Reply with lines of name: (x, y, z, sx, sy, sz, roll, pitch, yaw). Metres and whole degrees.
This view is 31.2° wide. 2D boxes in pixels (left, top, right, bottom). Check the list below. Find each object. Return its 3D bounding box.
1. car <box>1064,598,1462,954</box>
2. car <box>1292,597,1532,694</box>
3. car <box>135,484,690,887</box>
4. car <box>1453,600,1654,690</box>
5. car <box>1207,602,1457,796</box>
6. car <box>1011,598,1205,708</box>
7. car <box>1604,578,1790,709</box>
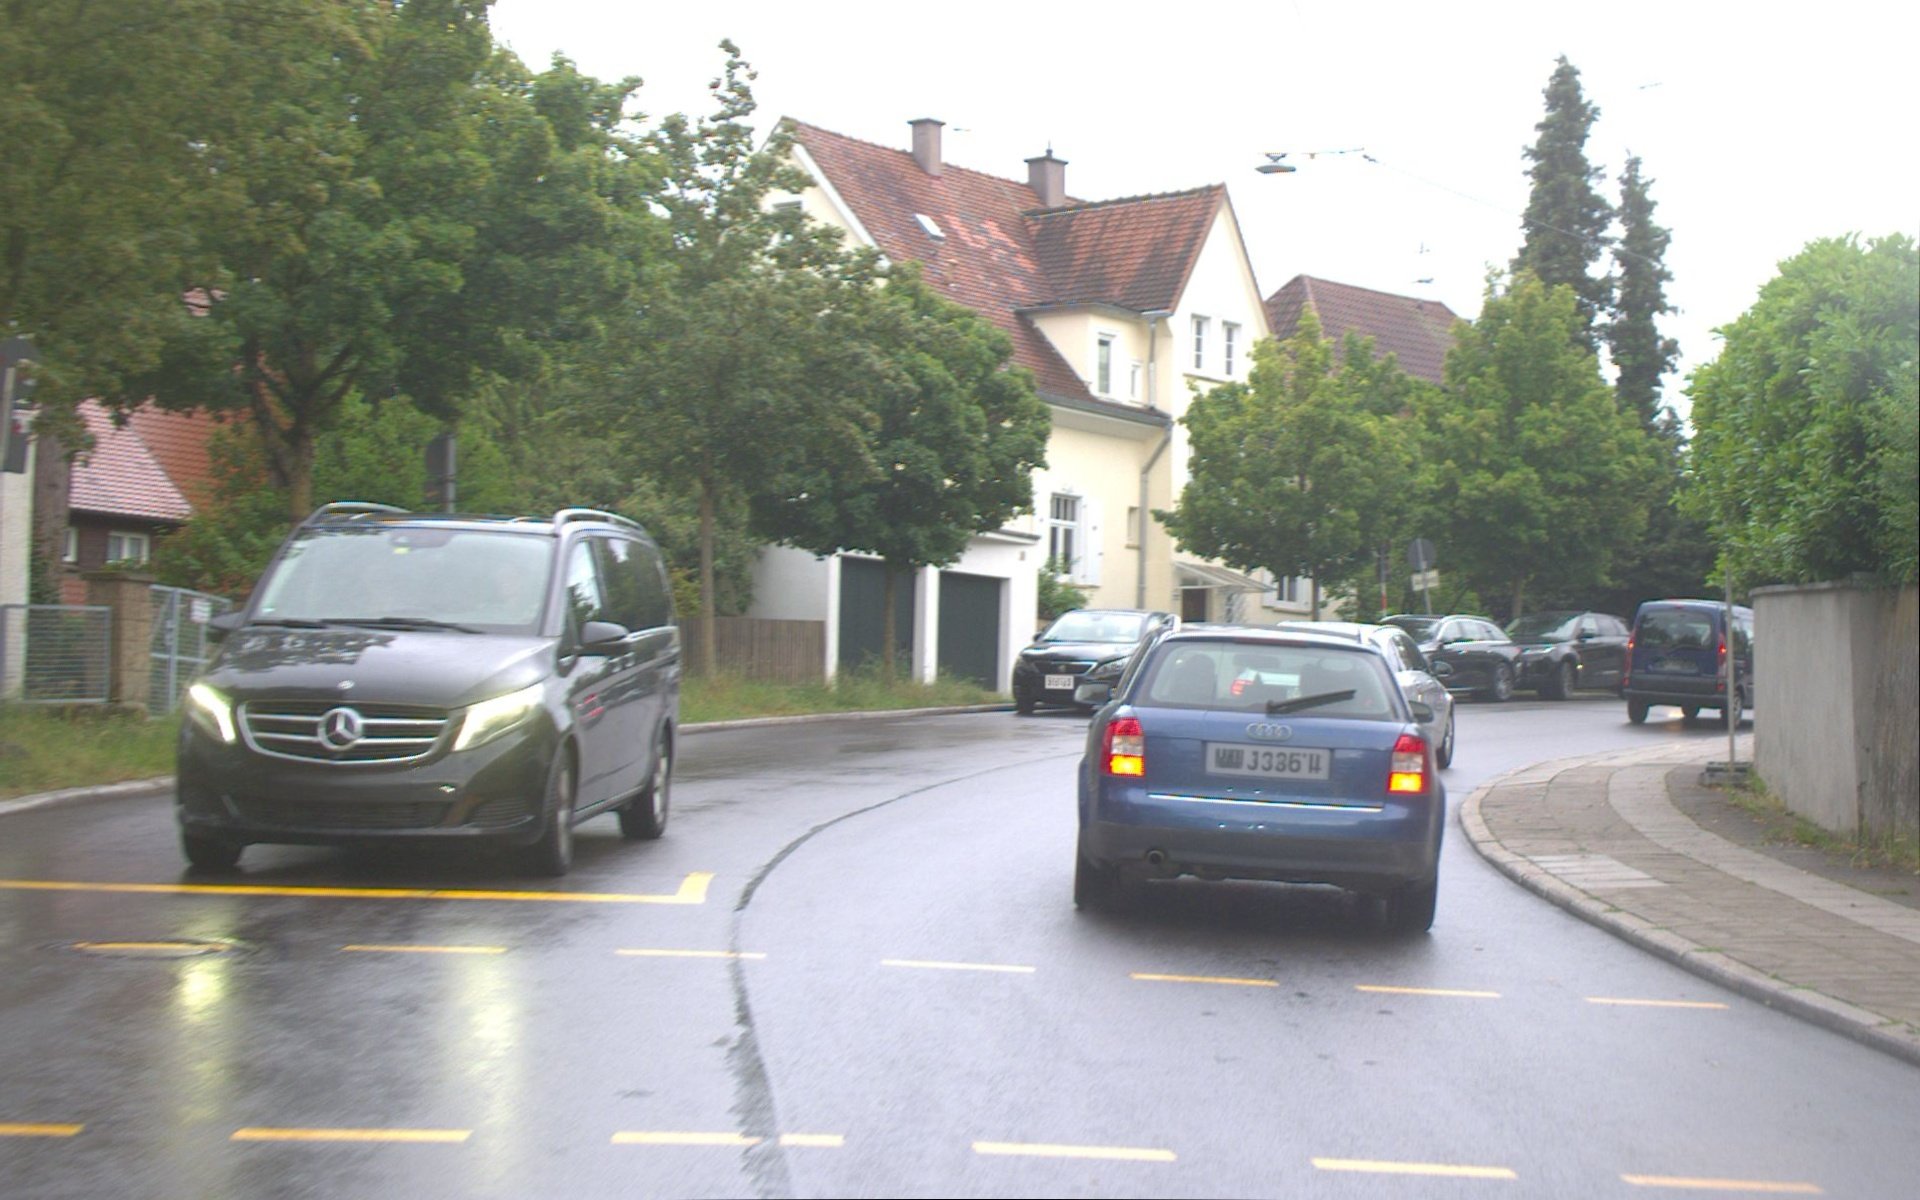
car: (1.427, 0.792, 17.489, 1.733, 1.461, 4.000, -1, 2, 1)
car: (7.683, 0.772, 58.066, 1.870, 1.540, 4.894, 1, 0, 36)
car: (-2.779, 0.404, 18.722, 1.897, 1.883, 5.152, 0, 0, 4)
car: (10.747, 0.819, 62.020, 1.737, 1.540, 4.200, 1, 0, 39)
car: (3.718, 0.914, 33.743, 1.976, 1.629, 4.233, 0, 2, 12)
car: (2.102, 0.727, 47.827, 1.671, 1.461, 3.891, 0, -1, 19)
car: (11.101, 0.611, 51.589, 1.736, 1.762, 4.229, 0, 2, 26)
